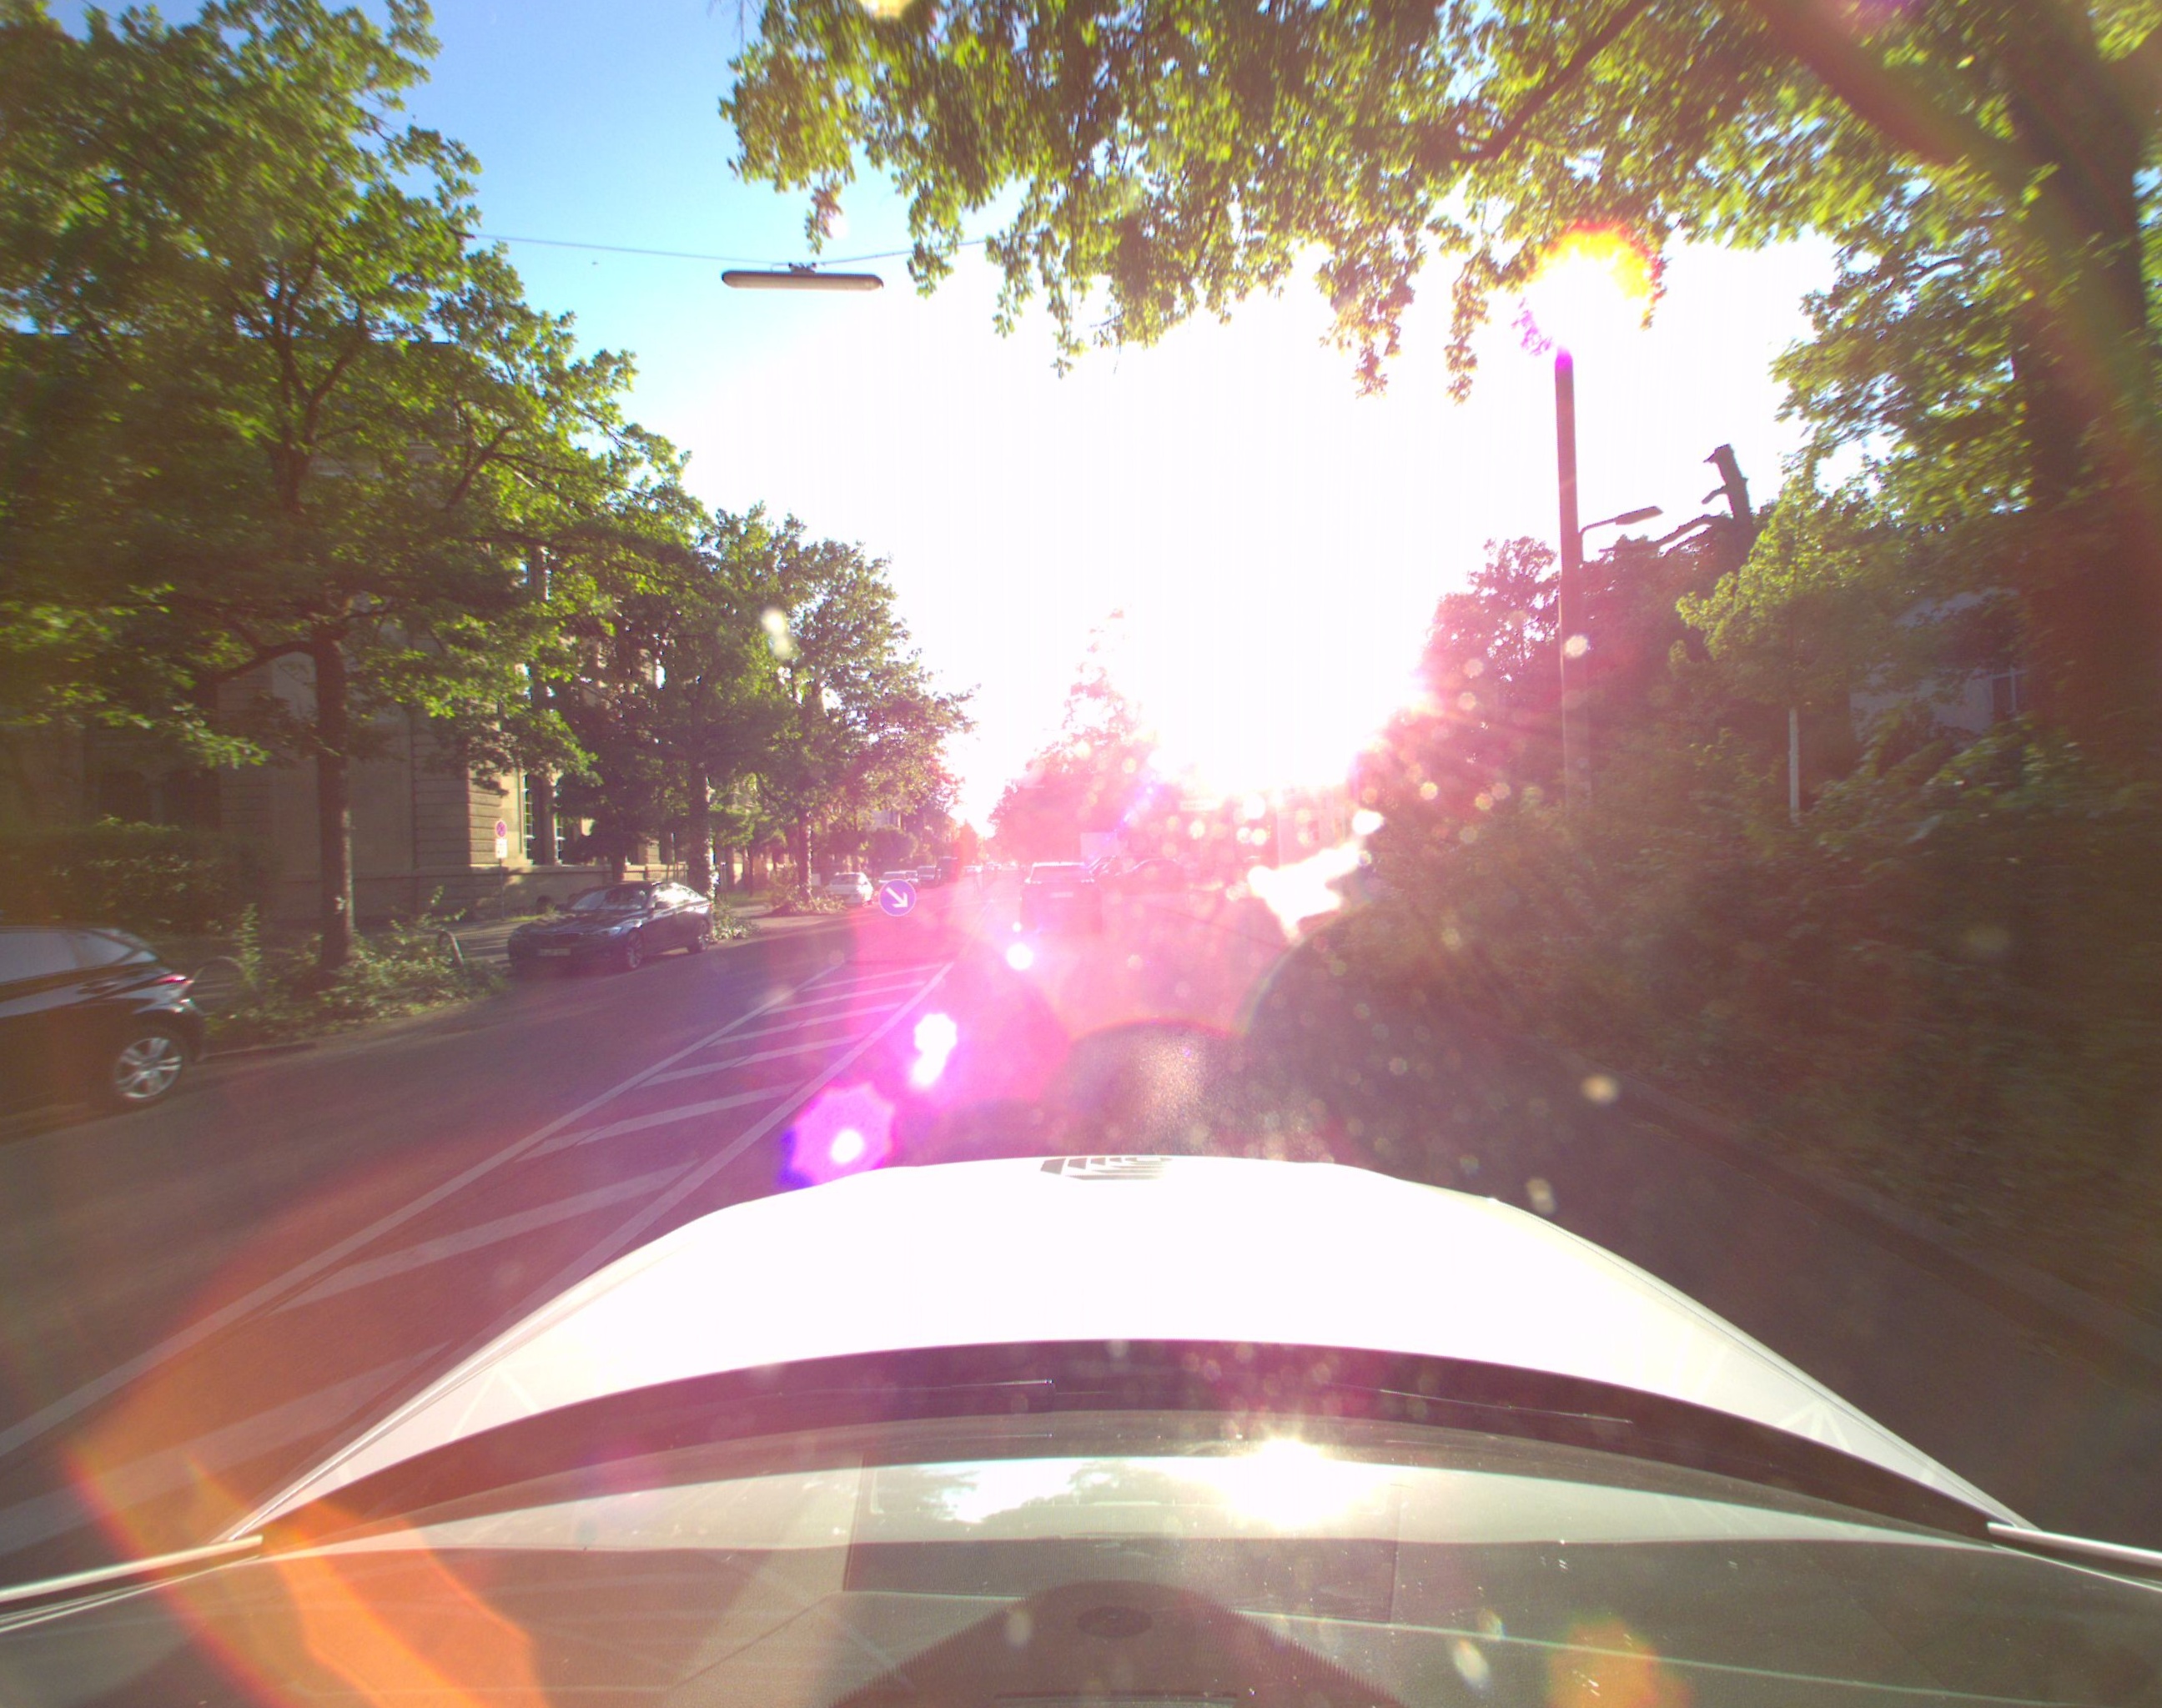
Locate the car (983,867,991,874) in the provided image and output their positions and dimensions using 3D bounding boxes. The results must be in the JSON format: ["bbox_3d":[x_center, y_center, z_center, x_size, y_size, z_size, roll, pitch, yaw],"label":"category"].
[{"bbox_3d":[-24.000,4.163,207.519,1.897,1.574,3.992,-2,-1,-5],"label":"car"}]

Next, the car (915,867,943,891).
[{"bbox_3d":[-12.273,1.966,65.876,1.774,1.866,4.325,0,-1,-5],"label":"car"}]

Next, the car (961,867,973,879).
[{"bbox_3d":[-16.849,2.811,120.626,1.612,1.515,3.703,-4,-1,-7],"label":"car"}]

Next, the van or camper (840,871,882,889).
[{"bbox_3d":[-28.660,3.324,106.235,4.758,1.985,1.998,-2,3,-3],"label":"van or camper"}]

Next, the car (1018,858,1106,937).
[{"bbox_3d":[-0.543,0.898,18.660,1.769,1.568,4.101,-1,-1,-5],"label":"car"}]

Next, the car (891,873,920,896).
[{"bbox_3d":[-11.923,2.045,55.441,1.719,1.496,4.361,-2,-1,-10],"label":"car"}]

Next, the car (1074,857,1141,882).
[{"bbox_3d":[2.042,1.222,63.648,4.921,1.554,1.912,-4,-1,-6],"label":"car"}]

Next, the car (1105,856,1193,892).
[{"bbox_3d":[3.568,1.042,43.312,4.358,1.554,1.724,-4,-1,-6],"label":"car"}]

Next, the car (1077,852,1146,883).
[{"bbox_3d":[2.239,1.034,61.115,4.846,1.916,1.912,-4,-1,-6],"label":"car"}]

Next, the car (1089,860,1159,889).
[{"bbox_3d":[2.817,1.328,54.031,4.358,1.537,1.917,-4,-1,-6],"label":"car"}]

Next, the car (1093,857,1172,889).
[{"bbox_3d":[3.007,1.104,48.248,4.358,1.554,1.872,-4,-1,-6],"label":"car"}]

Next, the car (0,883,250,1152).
[{"bbox_3d":[-7.456,1.020,4.457,1.777,1.616,4.139,-1,-1,-5],"label":"car"}]

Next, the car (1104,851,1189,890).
[{"bbox_3d":[3.609,0.924,45.574,4.358,1.780,1.917,-4,-1,-6],"label":"car"}]

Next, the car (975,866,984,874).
[{"bbox_3d":[-20.380,3.256,163.467,1.750,1.414,3.755,-4,0,-7],"label":"car"}]

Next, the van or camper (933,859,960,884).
[{"bbox_3d":[-13.983,1.845,85.164,2.226,2.544,7.065,-1,-1,-5],"label":"van or camper"}]

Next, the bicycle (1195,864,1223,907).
[{"bbox_3d":[3.935,0.949,24.929,0.488,1.148,2.294,-6,0,15],"label":"bicycle"}]

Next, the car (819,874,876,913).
[{"bbox_3d":[-10.110,1.674,35.536,1.615,1.496,3.917,-2,-1,-5],"label":"car"}]

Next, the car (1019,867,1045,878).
[{"bbox_3d":[-8.200,3.083,136.813,4.240,1.449,2.016,-4,-1,-8],"label":"car"}]

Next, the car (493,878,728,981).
[{"bbox_3d":[-8.408,1.253,15.175,1.799,1.511,4.855,-1,-1,-4],"label":"car"}]

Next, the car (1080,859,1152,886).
[{"bbox_3d":[2.473,1.314,58.643,4.921,1.554,1.912,-4,-1,-6],"label":"car"}]

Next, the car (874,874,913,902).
[{"bbox_3d":[-11.080,1.966,48.412,1.615,1.496,4.369,-2,-1,-5],"label":"car"}]

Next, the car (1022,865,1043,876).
[{"bbox_3d":[-10.010,3.481,168.544,3.987,2.089,1.752,-2,-1,-10],"label":"car"}]

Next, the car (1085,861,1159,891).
[{"bbox_3d":[2.568,1.354,51.390,4.358,1.537,1.917,-4,-1,-6],"label":"car"}]
